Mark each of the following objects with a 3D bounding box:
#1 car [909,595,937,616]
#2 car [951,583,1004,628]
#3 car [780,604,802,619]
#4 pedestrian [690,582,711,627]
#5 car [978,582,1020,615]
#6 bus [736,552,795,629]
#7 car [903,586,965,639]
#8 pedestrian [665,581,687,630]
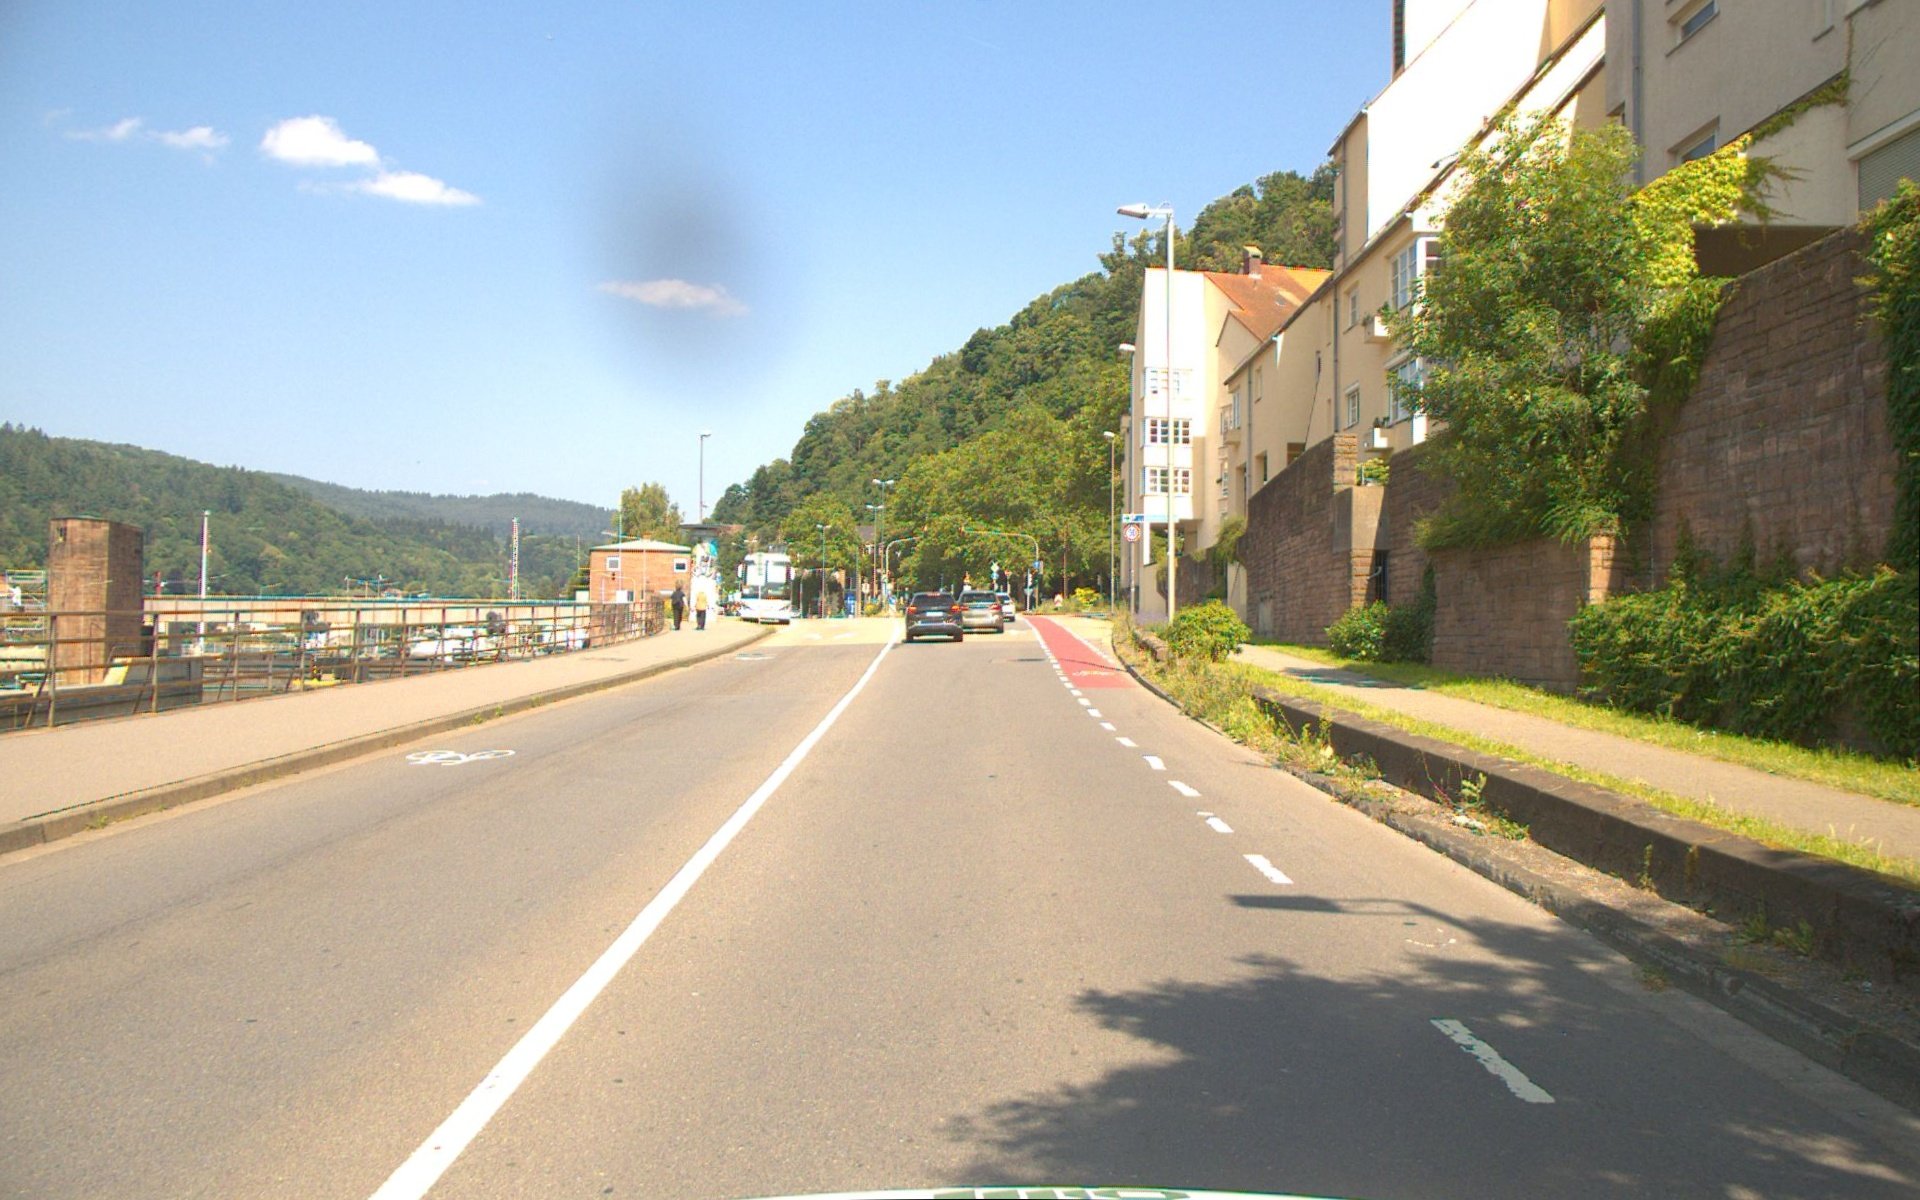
[{"bbox_3d":[-2.598,0.352,115.327,1.829,1.382,3.998,-1,0,-3],"label":"car"},{"bbox_3d":[0.607,0.204,60.289,1.850,1.548,4.305,1,0,-1],"label":"car"},{"bbox_3d":[-17.909,1.224,175.471,1.958,1.457,4.156,-1,0,-11],"label":"car"},{"bbox_3d":[-9.733,0.170,62.069,0.688,1.649,0.816,0,-1,-3],"label":"pedestrian"},{"bbox_3d":[1.902,-0.057,82.106,1.953,1.560,4.857,1,0,-1],"label":"car"},{"bbox_3d":[-10.457,-0.420,89.750,2.899,3.867,13.227,0,0,-6],"label":"bus"},{"bbox_3d":[-0.785,0.388,51.293,1.831,1.540,4.150,1,0,-1],"label":"car"},{"bbox_3d":[-10.328,0.205,60.143,0.669,1.739,0.773,0,-1,-1],"label":"pedestrian"}]
